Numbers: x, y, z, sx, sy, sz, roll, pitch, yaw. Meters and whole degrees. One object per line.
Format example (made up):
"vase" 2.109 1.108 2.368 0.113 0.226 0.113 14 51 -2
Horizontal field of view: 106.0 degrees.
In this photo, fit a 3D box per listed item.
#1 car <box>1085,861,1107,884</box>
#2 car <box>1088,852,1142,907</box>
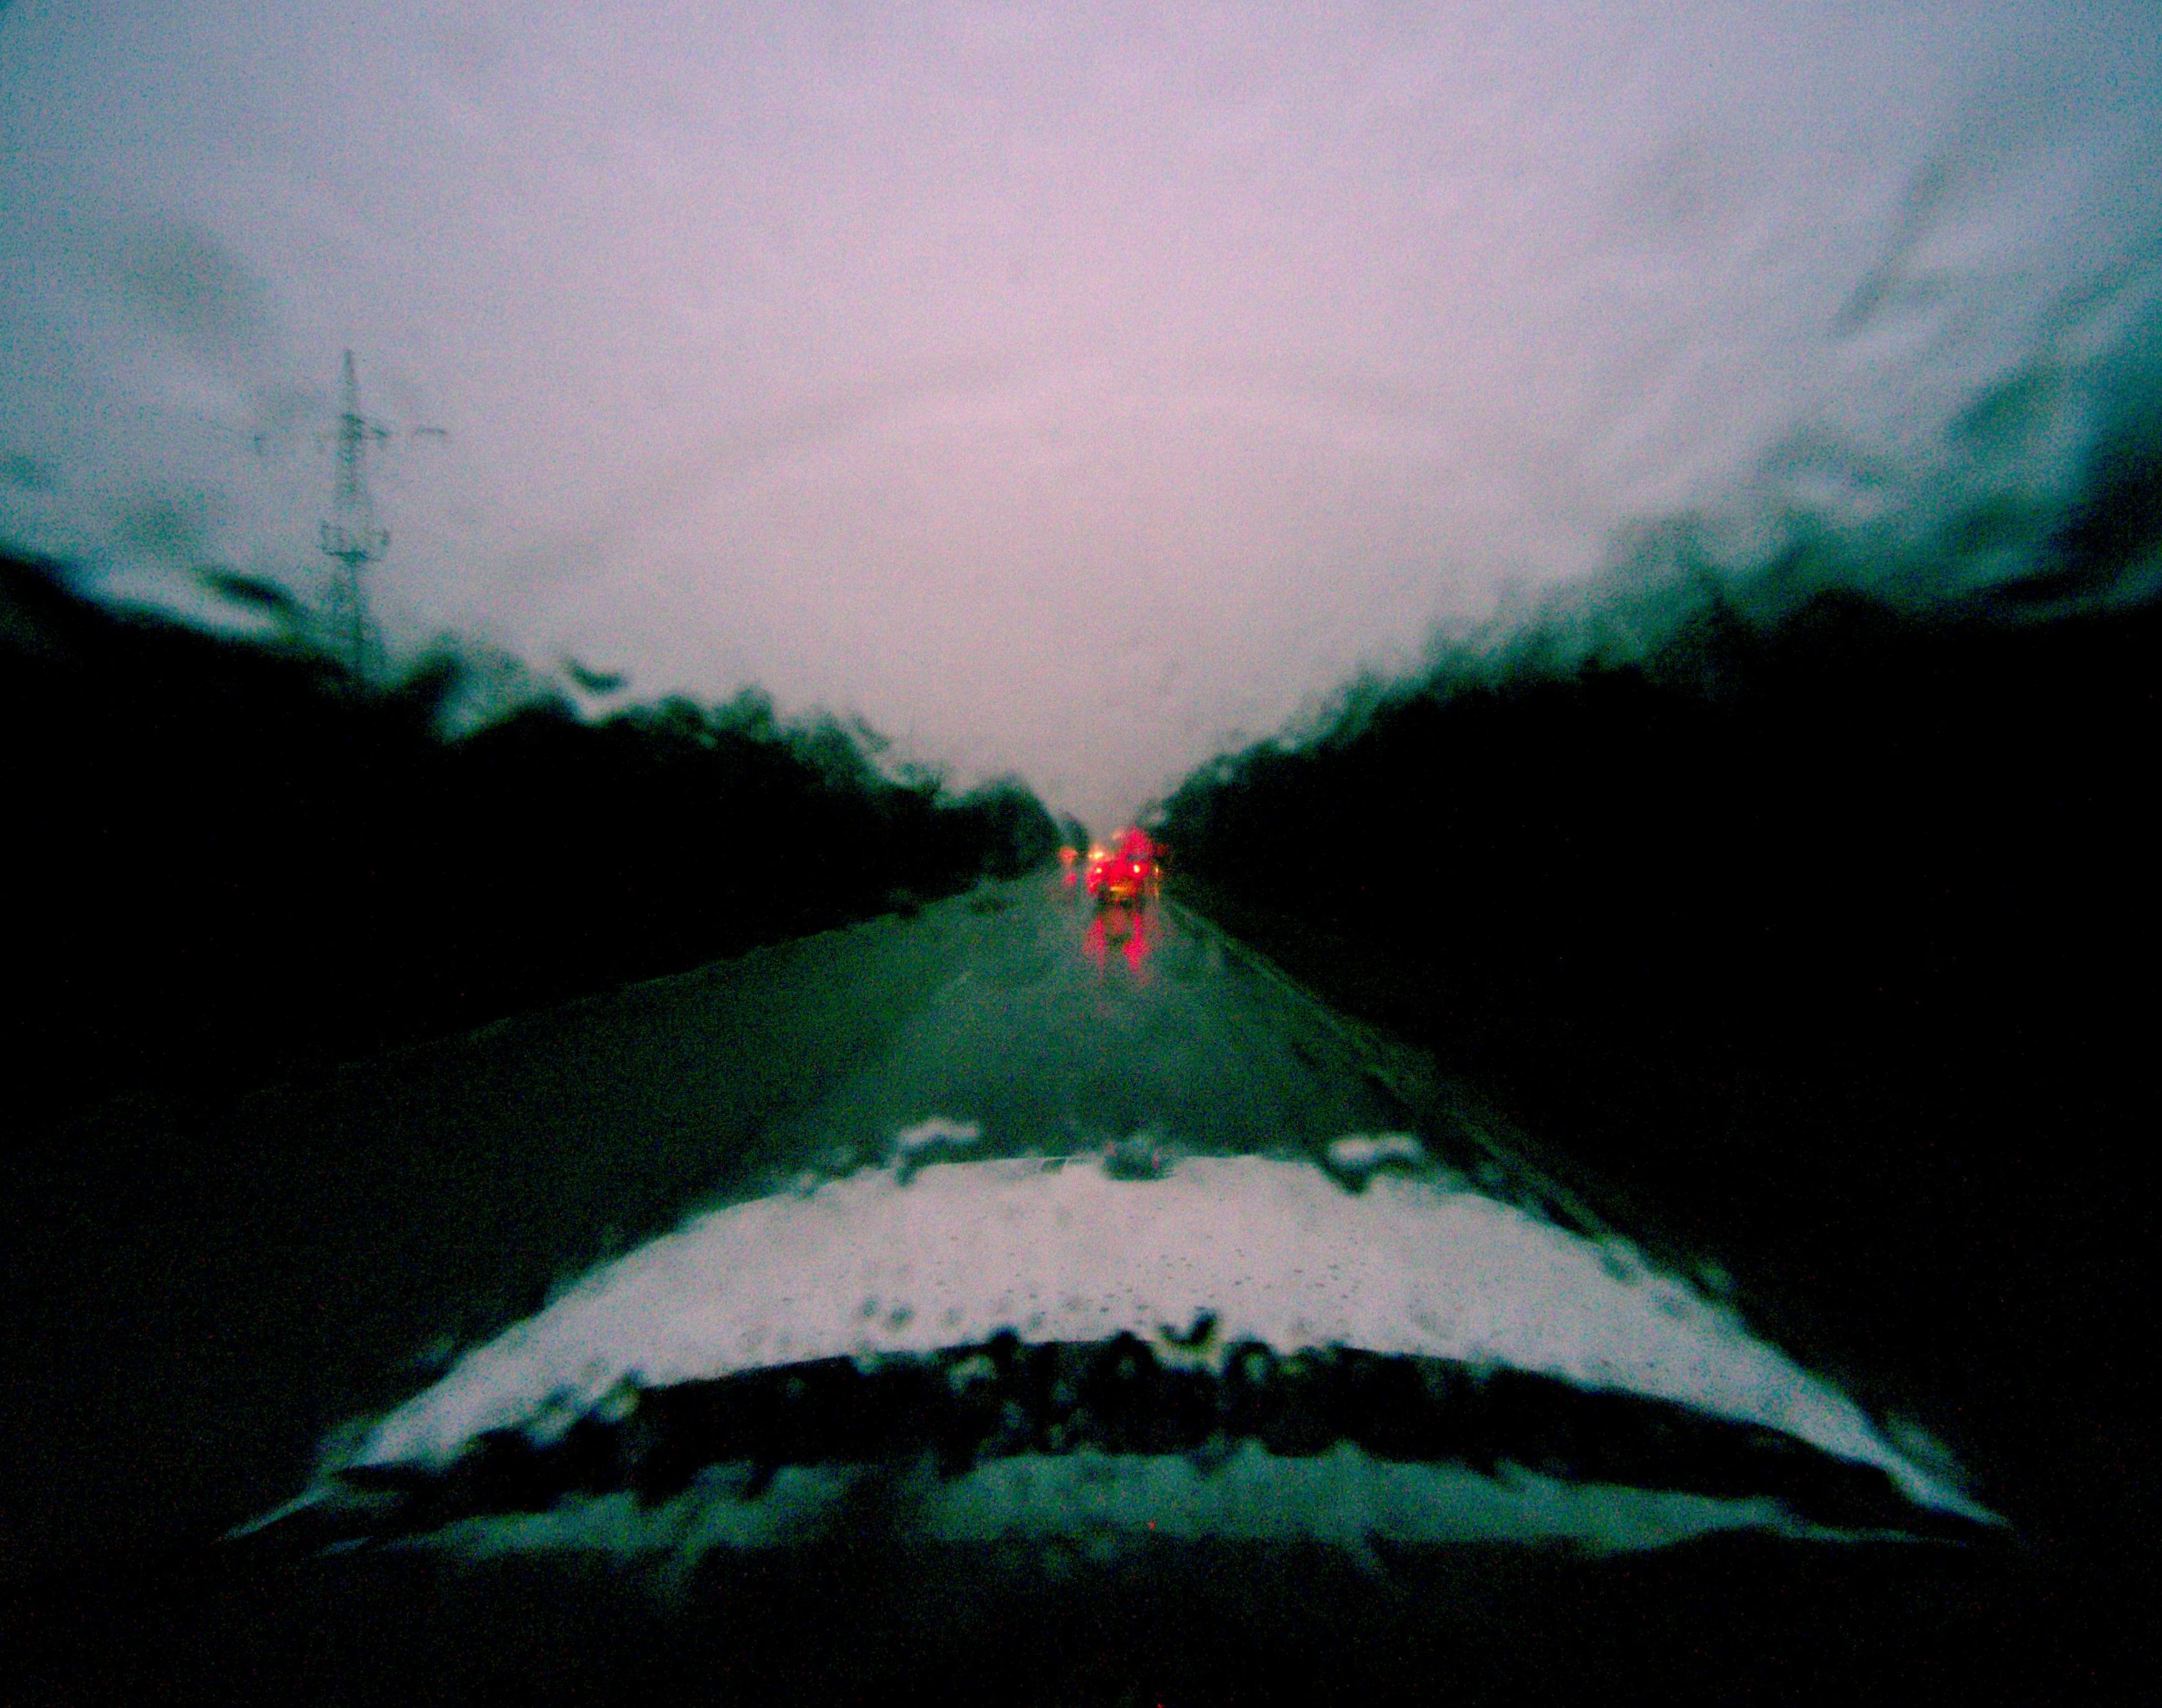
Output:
"car" 1.242 1.500 66.891 1.726 1.779 4.001 -1 0 1
"car" 1.090 0.782 26.597 1.642 1.672 3.515 -1 0 2
